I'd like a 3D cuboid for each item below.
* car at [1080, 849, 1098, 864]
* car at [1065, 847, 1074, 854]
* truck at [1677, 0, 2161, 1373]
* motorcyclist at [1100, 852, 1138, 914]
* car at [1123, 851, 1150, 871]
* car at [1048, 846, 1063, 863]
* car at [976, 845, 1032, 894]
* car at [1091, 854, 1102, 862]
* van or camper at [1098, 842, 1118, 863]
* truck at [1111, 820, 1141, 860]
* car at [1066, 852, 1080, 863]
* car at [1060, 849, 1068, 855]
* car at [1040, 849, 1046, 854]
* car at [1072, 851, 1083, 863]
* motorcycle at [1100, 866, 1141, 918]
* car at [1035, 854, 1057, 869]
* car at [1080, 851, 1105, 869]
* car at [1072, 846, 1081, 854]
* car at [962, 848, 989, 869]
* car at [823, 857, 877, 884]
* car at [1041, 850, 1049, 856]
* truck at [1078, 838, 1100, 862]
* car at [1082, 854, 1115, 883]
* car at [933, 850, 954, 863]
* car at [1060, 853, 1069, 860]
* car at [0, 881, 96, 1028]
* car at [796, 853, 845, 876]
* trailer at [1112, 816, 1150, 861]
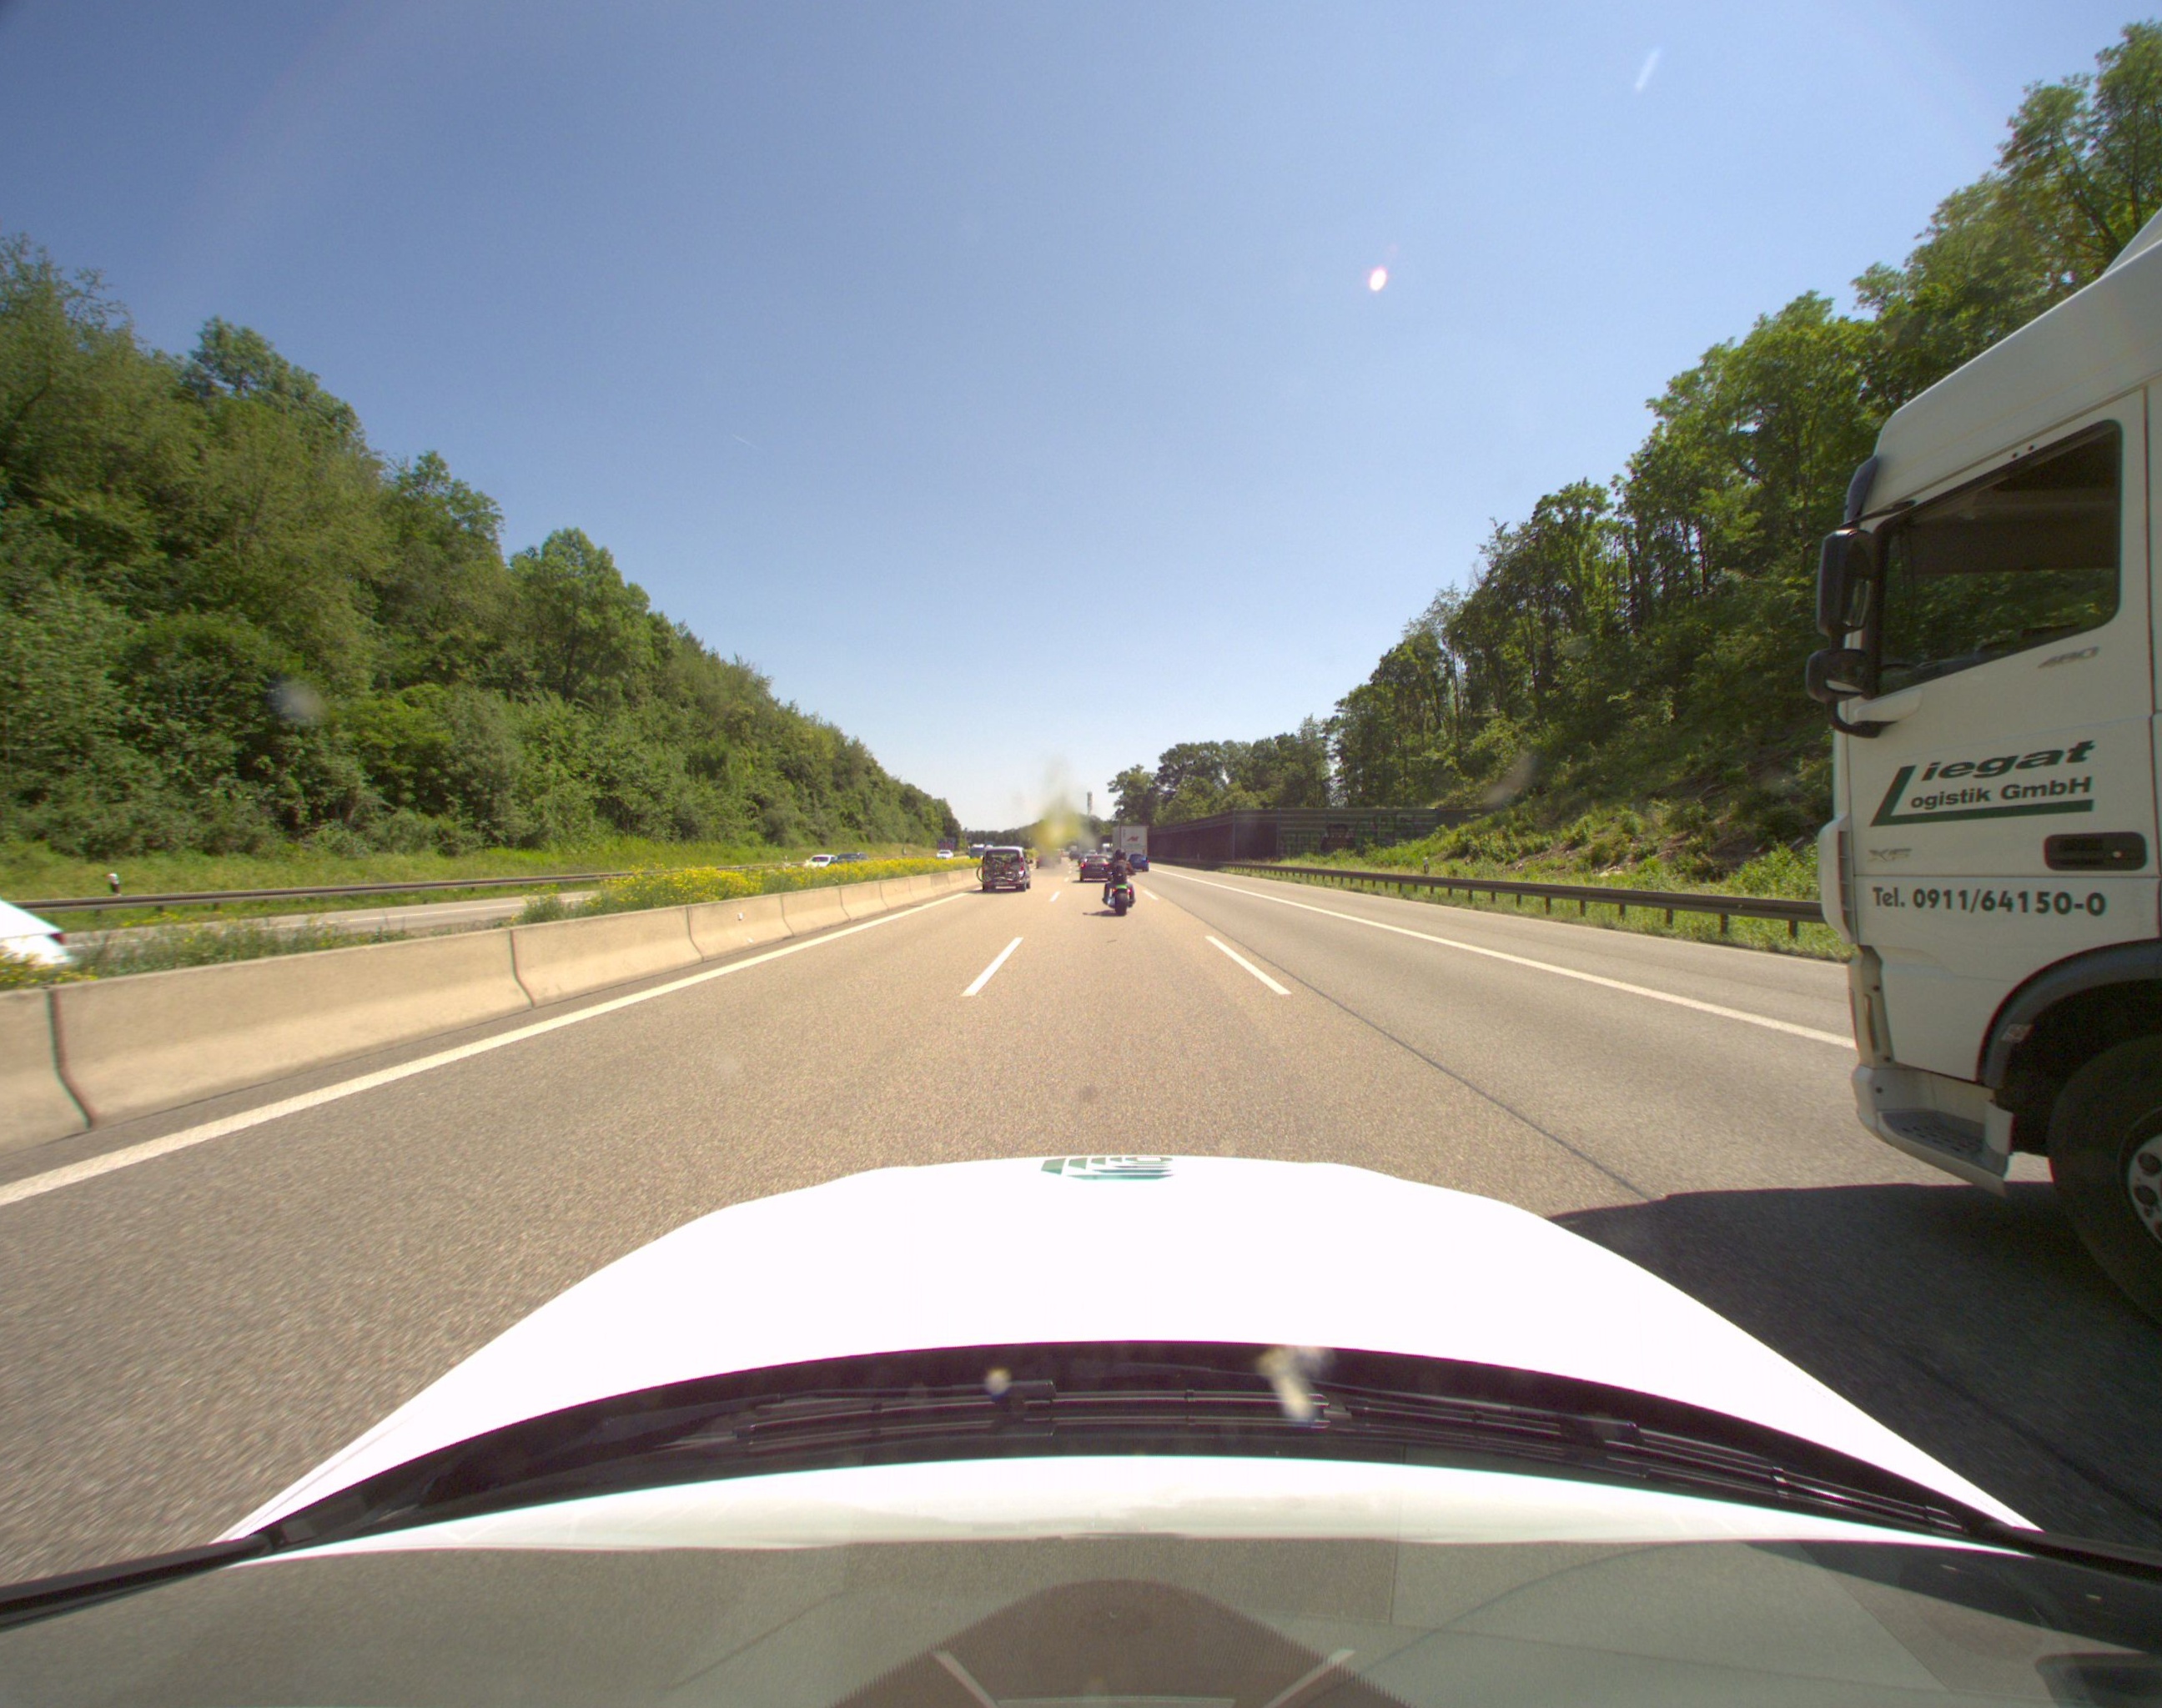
[{"bbox_3d":[0.908,0.317,90.588,1.772,1.552,3.586,-1,-1,2],"label":"car"},{"bbox_3d":[-3.048,-0.867,218.374,2.103,1.876,3.995,-1,-1,-4],"label":"car"},{"bbox_3d":[4.436,-0.618,1.307,2.776,4.204,5.871,0,1,1],"label":"truck"},{"bbox_3d":[0.978,0.715,20.455,0.896,1.475,1.874,-1,-1,4],"label":"motorcyclist"},{"bbox_3d":[4.367,0.574,64.979,1.647,1.483,4.477,-1,-1,-3],"label":"car"},{"bbox_3d":[-3.294,0.073,105.037,1.785,2.014,3.642,-1,-1,1],"label":"car"},{"bbox_3d":[-3.088,0.628,33.523,1.893,1.873,4.411,-1,-1,-1],"label":"car"},{"bbox_3d":[3.039,0.830,156.898,1.987,1.574,3.999,-1,-1,0],"label":"car"},{"bbox_3d":[3.934,-0.200,117.463,2.674,2.813,6.806,-1,-1,2],"label":"van or camper"},{"bbox_3d":[4.774,-1.470,87.269,2.876,4.146,5.985,-1,0,0],"label":"truck"},{"bbox_3d":[-1.241,0.535,127.787,1.987,1.640,3.999,-1,-1,0],"label":"car"},{"bbox_3d":[-4.105,-0.512,197.221,1.827,1.496,3.741,-1,-1,-2],"label":"car"},{"bbox_3d":[-11.305,-0.714,240.871,1.828,1.496,3.739,-1,-1,-3],"label":"car"},{"bbox_3d":[-0.637,0.579,153.141,1.906,2.014,3.688,-1,-1,-2],"label":"car"},{"bbox_3d":[1.009,0.914,20.546,0.960,1.148,2.814,0,0,3],"label":"motorcycle"},{"bbox_3d":[-3.414,0.708,79.473,1.987,1.387,3.999,-1,-1,-1],"label":"car"},{"bbox_3d":[0.927,0.526,69.036,1.987,1.430,3.846,-1,-1,-1],"label":"car"},{"bbox_3d":[-1.197,-0.975,213.119,2.103,1.876,3.995,-1,-1,-4],"label":"car"},{"bbox_3d":[-10.527,0.442,81.174,1.986,2.014,4.421,-1,-1,1],"label":"car"},{"bbox_3d":[-13.599,0.967,48.192,1.986,1.486,4.001,-1,-1,1],"label":"car"},{"bbox_3d":[-8.592,-0.187,195.586,1.827,1.496,3.741,-1,-1,-2],"label":"car"},{"bbox_3d":[1.648,-0.765,170.502,3.796,4.960,8.936,-1,-1,-4],"label":"truck"},{"bbox_3d":[0.899,0.773,44.091,1.657,1.453,3.867,-1,-1,-1],"label":"car"},{"bbox_3d":[-18.159,0.280,107.905,1.987,1.616,4.482,-1,0,-1],"label":"car"},{"bbox_3d":[-3.479,0.479,173.182,1.827,1.496,3.741,-1,-1,-2],"label":"car"},{"bbox_3d":[-11.199,0.988,6.507,1.618,1.386,4.137,-1,0,0],"label":"car"},{"bbox_3d":[-17.664,0.723,55.451,1.987,1.442,4.171,-1,-1,0],"label":"car"},{"bbox_3d":[4.774,-1.405,80.445,2.876,4.038,13.793,-1,0,0],"label":"trailer"}]
